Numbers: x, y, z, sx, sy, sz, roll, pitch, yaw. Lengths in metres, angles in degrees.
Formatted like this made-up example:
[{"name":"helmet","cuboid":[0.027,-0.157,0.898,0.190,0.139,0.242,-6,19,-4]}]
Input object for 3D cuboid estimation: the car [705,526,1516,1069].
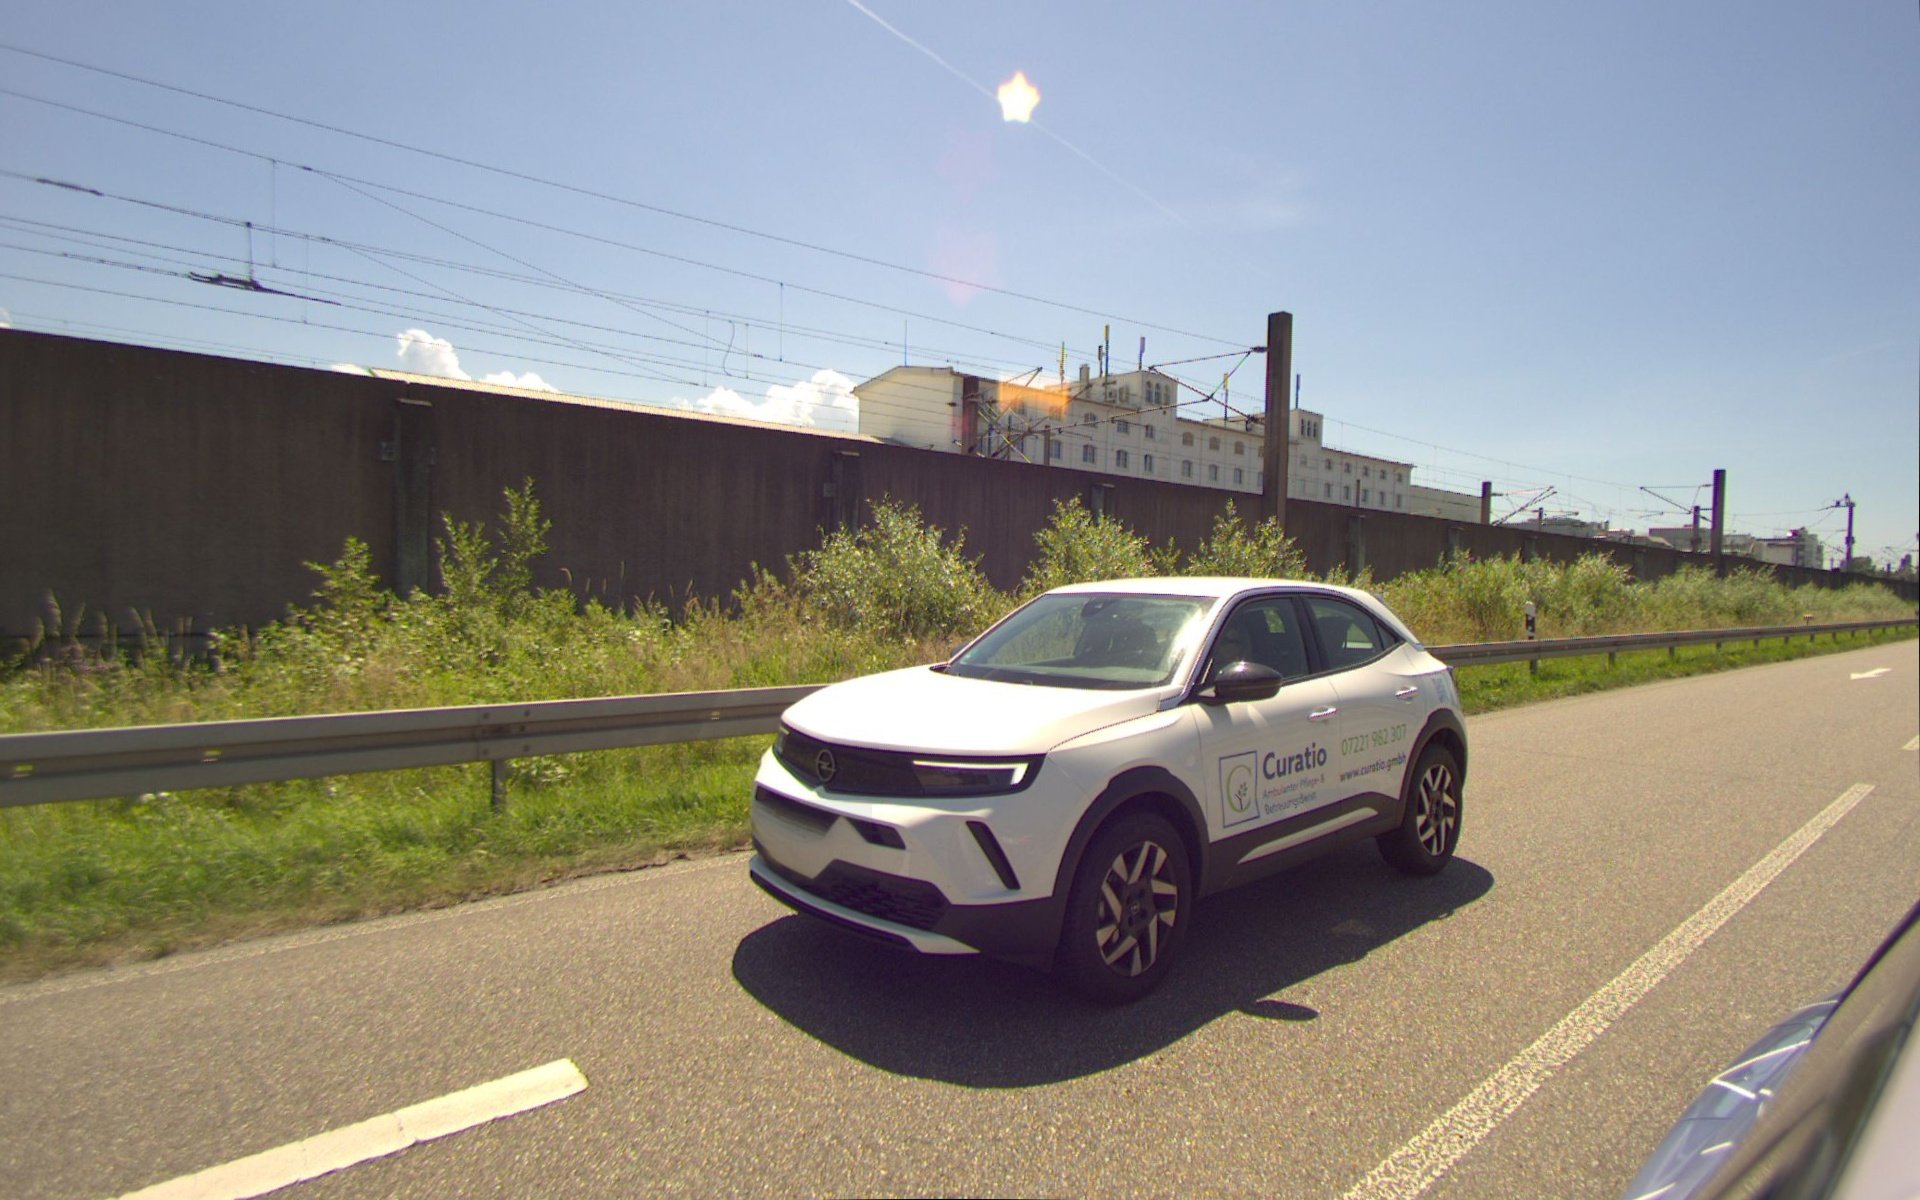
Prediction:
[{"name":"car","cuboid":[1.064,0.558,5.069,4.207,1.583,1.820,0,1,-43]}]
